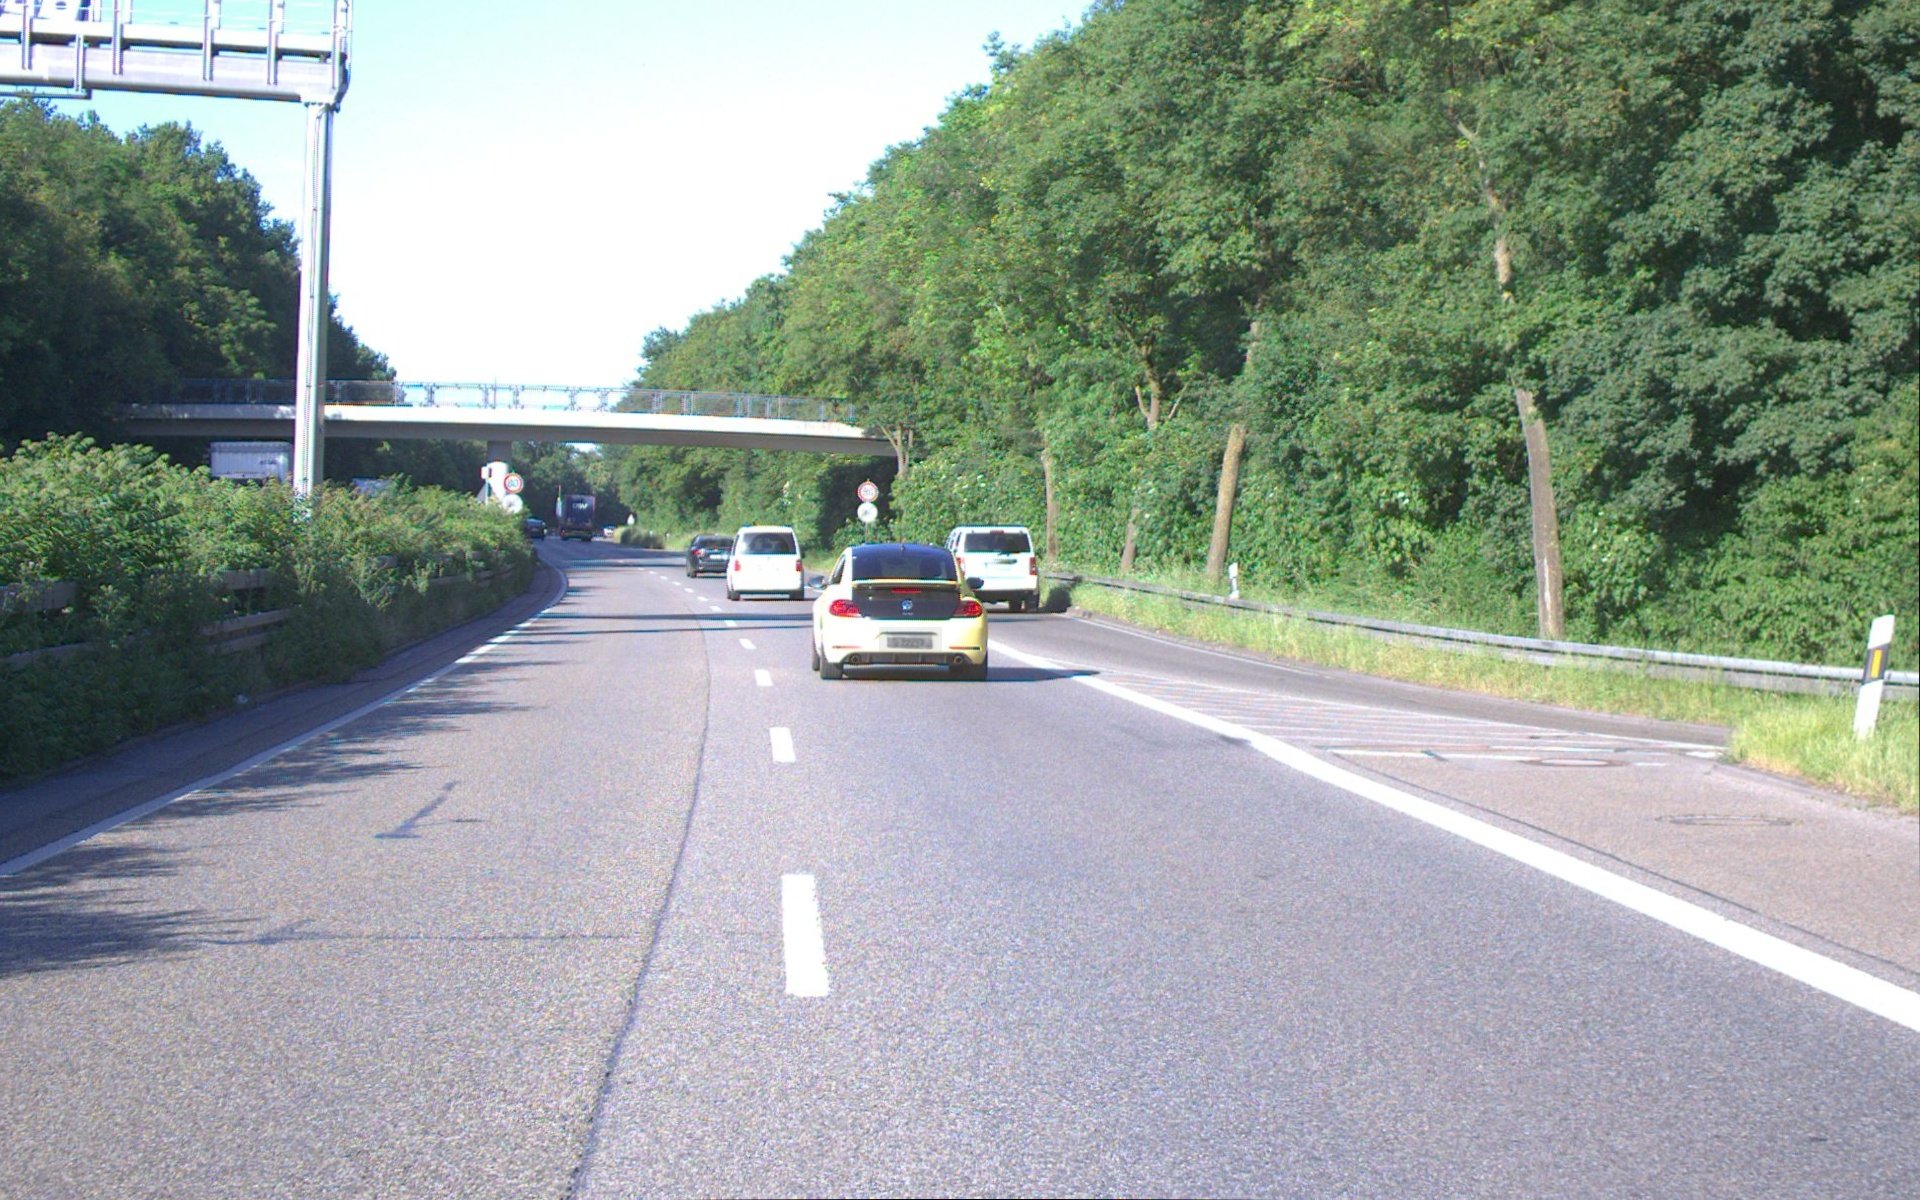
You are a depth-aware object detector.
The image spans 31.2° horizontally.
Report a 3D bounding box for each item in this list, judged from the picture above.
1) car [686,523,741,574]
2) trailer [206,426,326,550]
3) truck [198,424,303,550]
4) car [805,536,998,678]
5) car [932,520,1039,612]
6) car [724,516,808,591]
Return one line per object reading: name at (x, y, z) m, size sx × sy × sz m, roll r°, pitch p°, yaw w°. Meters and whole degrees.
car at (-8.724, -1.815, 121.612) m, size 1.897 × 1.761 × 4.001 m, roll 0°, pitch 1°, yaw -4°
trailer at (-24.368, -3.860, 121.290) m, size 2.737 × 4.013 × 14.078 m, roll 2°, pitch 1°, yaw -6°
truck at (-23.687, -3.743, 114.977) m, size 2.737 × 4.013 × 6.181 m, roll 2°, pitch 1°, yaw -6°
car at (-0.700, 0.042, 37.863) m, size 1.897 × 1.466 × 4.001 m, roll 0°, pitch 1°, yaw -4°
car at (0.490, -0.720, 70.663) m, size 1.897 × 1.817 × 4.001 m, roll 0°, pitch 1°, yaw -4°
car at (-4.730, -1.128, 83.323) m, size 1.897 × 1.761 × 4.001 m, roll 0°, pitch 1°, yaw -5°
